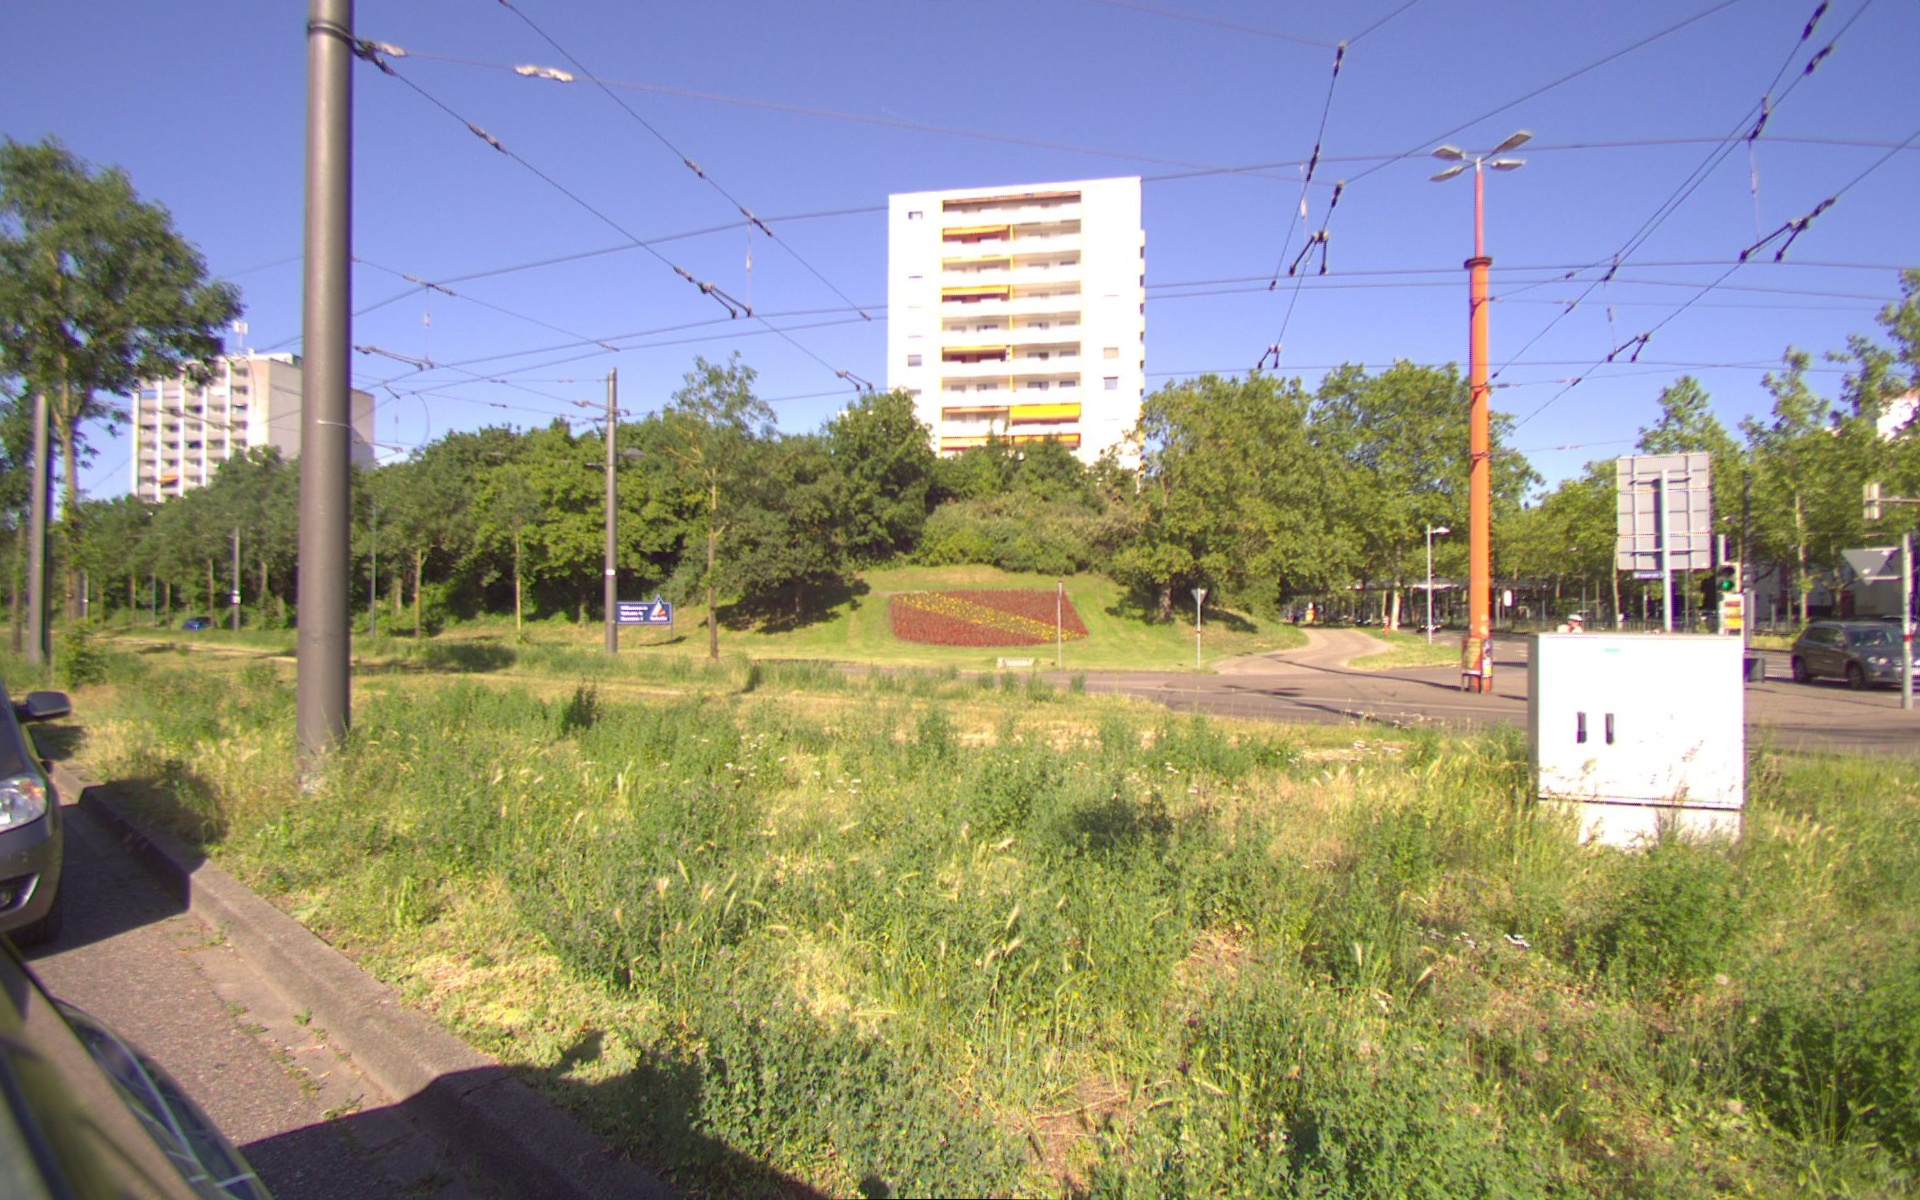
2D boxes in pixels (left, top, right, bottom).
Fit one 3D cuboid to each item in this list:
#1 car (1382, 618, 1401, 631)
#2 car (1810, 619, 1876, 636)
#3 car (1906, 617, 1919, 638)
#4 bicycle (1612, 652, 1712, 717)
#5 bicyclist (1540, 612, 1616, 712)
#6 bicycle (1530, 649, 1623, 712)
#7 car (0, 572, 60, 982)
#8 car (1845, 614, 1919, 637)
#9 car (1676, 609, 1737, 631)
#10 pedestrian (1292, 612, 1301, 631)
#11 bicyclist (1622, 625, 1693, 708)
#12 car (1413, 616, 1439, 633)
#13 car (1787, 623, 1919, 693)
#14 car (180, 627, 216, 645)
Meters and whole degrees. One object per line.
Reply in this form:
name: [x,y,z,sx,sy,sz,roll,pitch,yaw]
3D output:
car: [51.395,2.890,120.542,1.904,1.507,3.973,-1,0,20]
car: [64.402,1.992,73.846,1.425,1.197,3.423,-1,0,-41]
car: [63.683,1.780,65.162,1.472,1.341,3.746,-1,0,-27]
bicycle: [13.501,1.598,19.536,0.571,1.079,1.916,-1,0,0]
bicyclist: [12.112,1.194,19.872,0.880,1.881,0.924,-1,0,-2]
bicycle: [12.066,1.550,19.889,0.571,1.079,1.917,-1,0,-3]
car: [-5.827,0.754,4.889,3.998,1.652,1.726,-1,0,41]
car: [63.798,1.746,69.994,1.589,1.471,3.656,-1,0,-38]
car: [72.140,1.943,97.872,1.909,1.999,4.350,1,-2,-38]
pedestrian: [28.015,1.806,84.208,0.681,1.568,0.985,-1,-2,20]
bicyclist: [13.489,1.268,19.586,0.710,1.536,0.924,-1,0,0]
car: [42.539,2.270,92.511,1.905,1.507,3.971,-1,-1,21]
car: [23.013,1.395,25.417,1.900,1.507,4.026,-1,0,15]
car: [-60.829,2.870,80.759,3.908,1.431,1.557,-2,-1,42]
